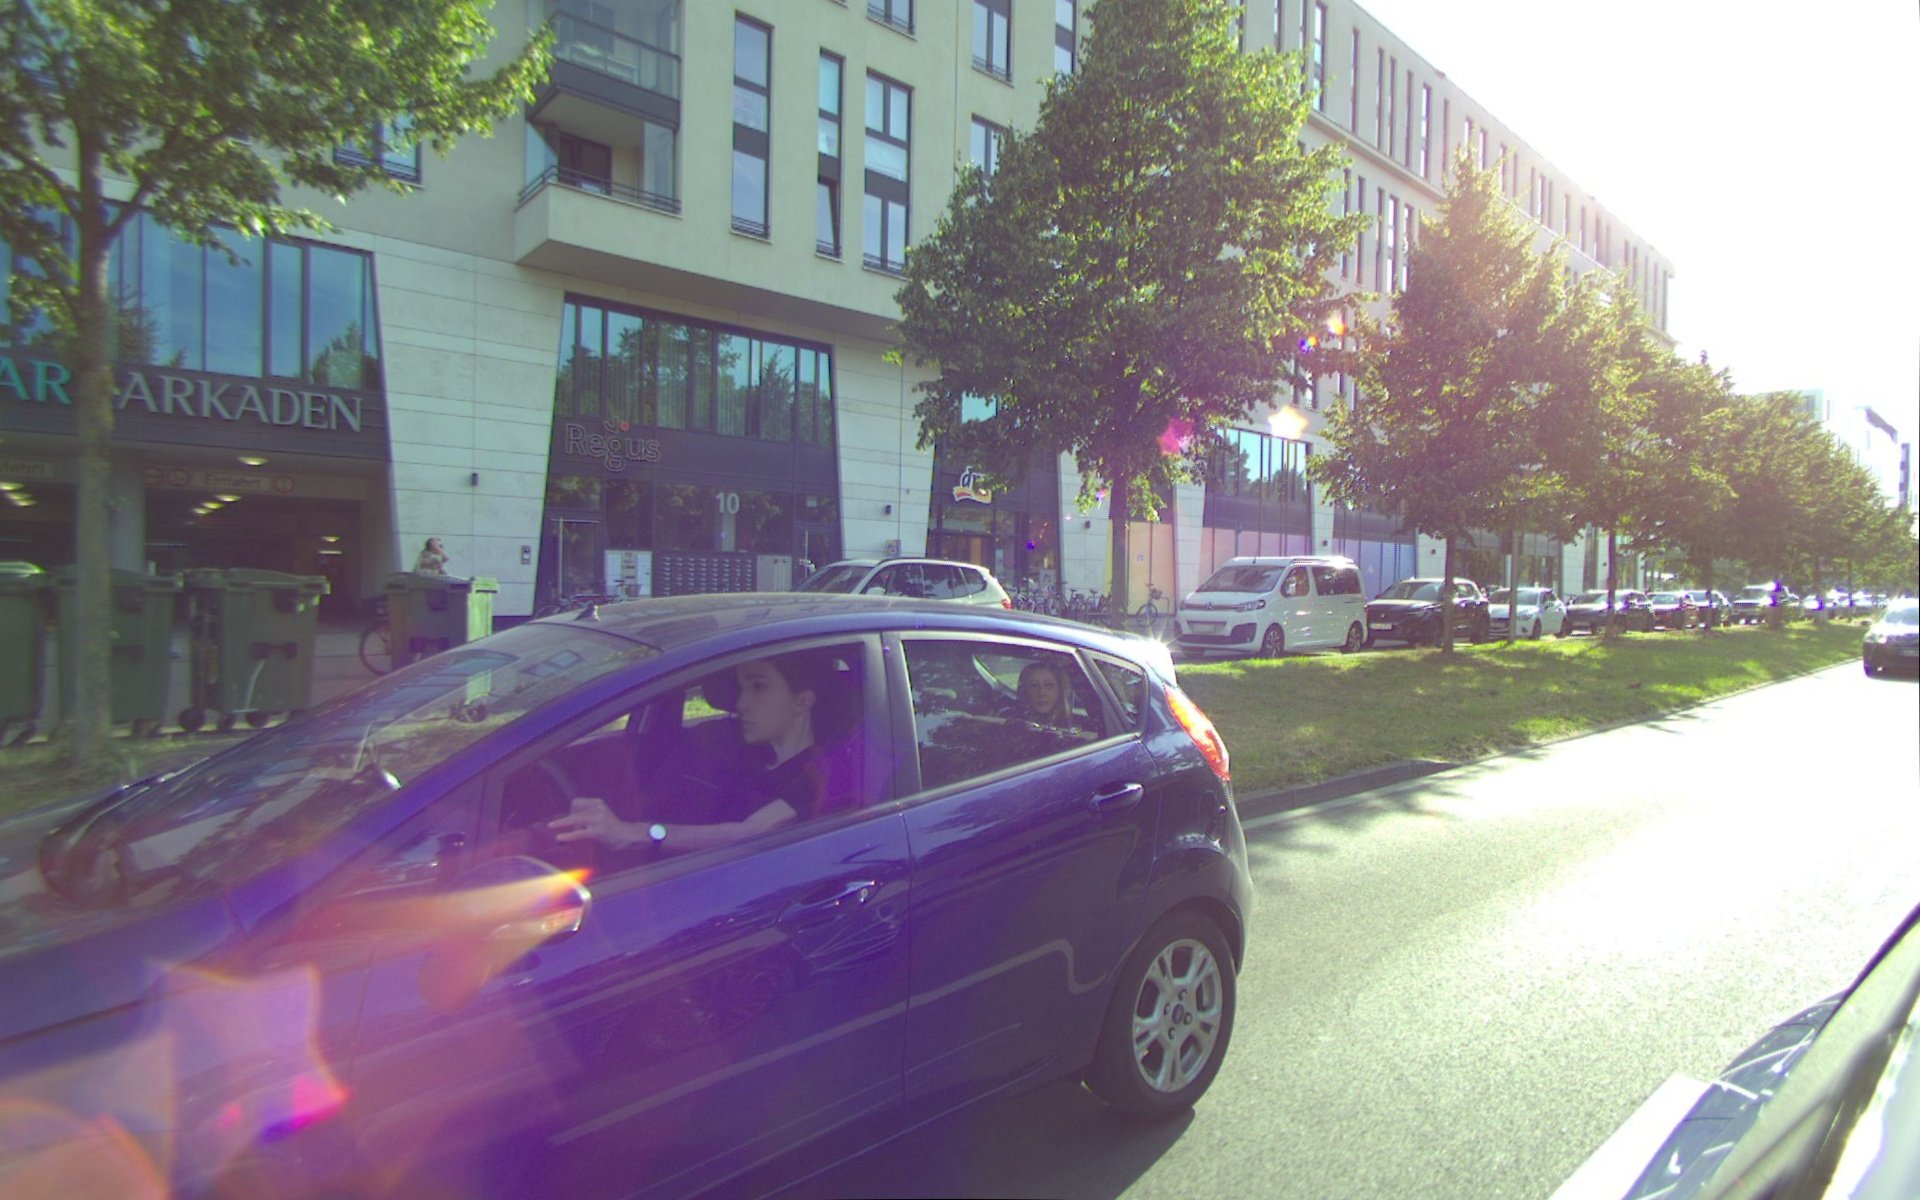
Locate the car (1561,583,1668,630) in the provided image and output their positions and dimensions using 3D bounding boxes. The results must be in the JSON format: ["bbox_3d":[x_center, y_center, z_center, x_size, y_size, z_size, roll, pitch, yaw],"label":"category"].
[{"bbox_3d":[21.921,0.179,33.827,4.638,1.450,1.731,-1,0,-40],"label":"car"}]

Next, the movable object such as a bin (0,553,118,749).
[{"bbox_3d":[-6.982,0.349,7.404,1.172,1.334,1.278,-1,0,-44],"label":"movable object such as a bin"}]

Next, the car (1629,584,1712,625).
[{"bbox_3d":[27.051,0.136,38.486,4.044,1.450,1.730,-1,0,-42],"label":"car"}]

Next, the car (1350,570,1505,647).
[{"bbox_3d":[11.188,0.158,24.084,4.263,1.671,1.731,-1,0,-41],"label":"car"}]

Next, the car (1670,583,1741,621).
[{"bbox_3d":[31.550,0.054,42.800,1.867,1.510,4.345,0,0,44],"label":"car"}]

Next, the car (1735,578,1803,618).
[{"bbox_3d":[40.093,-0.124,50.107,4.761,1.898,1.897,-1,0,-42],"label":"car"}]

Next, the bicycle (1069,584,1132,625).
[{"bbox_3d":[3.784,0.104,27.192,2.008,1.012,0.419,-1,5,-41],"label":"bicycle"}]

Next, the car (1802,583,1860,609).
[{"bbox_3d":[52.567,-0.254,61.077,4.830,1.507,1.764,-1,0,-38],"label":"car"}]

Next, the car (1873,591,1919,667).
[{"bbox_3d":[20.127,0.543,20.722,3.970,1.442,1.697,-1,0,-42],"label":"car"}]

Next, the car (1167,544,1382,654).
[{"bbox_3d":[6.288,-0.050,19.872,4.947,1.900,1.839,-1,0,-43],"label":"car"}]

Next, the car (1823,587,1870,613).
[{"bbox_3d":[57.219,-0.036,65.285,4.254,1.618,1.762,-1,0,-42],"label":"car"}]

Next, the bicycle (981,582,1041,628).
[{"bbox_3d":[1.294,0.106,25.525,1.711,1.093,0.345,-1,5,-41],"label":"bicycle"}]

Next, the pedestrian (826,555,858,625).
[{"bbox_3d":[-2.753,-0.233,23.585,0.511,1.594,0.534,-1,0,29],"label":"pedestrian"}]

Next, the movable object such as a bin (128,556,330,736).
[{"bbox_3d":[-5.994,0.334,8.286,1.172,1.318,1.278,-1,0,-44],"label":"movable object such as a bin"}]

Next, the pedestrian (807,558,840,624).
[{"bbox_3d":[-3.224,-0.212,23.949,0.587,1.541,0.514,0,0,-41],"label":"pedestrian"}]

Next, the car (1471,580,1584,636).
[{"bbox_3d":[15.795,0.175,28.080,4.099,1.430,1.617,-1,0,-44],"label":"car"}]

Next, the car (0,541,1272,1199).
[{"bbox_3d":[-1.036,0.637,2.398,3.838,1.442,1.563,-1,0,-40],"label":"car"}]

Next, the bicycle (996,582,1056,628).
[{"bbox_3d":[1.661,0.104,25.190,1.702,1.094,0.345,-1,5,-41],"label":"bicycle"}]

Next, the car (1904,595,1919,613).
[{"bbox_3d":[85.695,0.353,90.283,4.254,1.549,1.838,-1,0,-42],"label":"car"}]

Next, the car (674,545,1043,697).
[{"bbox_3d":[-1.148,0.189,13.296,4.770,1.650,1.732,0,2,-44],"label":"car"}]

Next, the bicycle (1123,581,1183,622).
[{"bbox_3d":[5.489,0.029,28.656,2.072,1.112,0.420,-1,5,-41],"label":"bicycle"}]

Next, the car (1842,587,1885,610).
[{"bbox_3d":[64.762,-0.122,72.520,4.254,1.549,1.838,-1,0,-42],"label":"car"}]

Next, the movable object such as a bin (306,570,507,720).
[{"bbox_3d":[-5.029,0.368,9.344,1.307,1.252,1.406,-1,0,-14],"label":"movable object such as a bin"}]

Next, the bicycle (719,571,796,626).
[{"bbox_3d":[-4.108,-0.040,20.519,1.485,1.088,0.348,-1,0,1],"label":"bicycle"}]

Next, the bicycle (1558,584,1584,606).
[{"bbox_3d":[31.076,-0.249,51.479,2.041,1.083,0.512,-1,3,-41],"label":"bicycle"}]

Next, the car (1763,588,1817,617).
[{"bbox_3d":[44.593,0.109,54.330,4.141,1.507,1.761,-1,0,-44],"label":"car"}]
